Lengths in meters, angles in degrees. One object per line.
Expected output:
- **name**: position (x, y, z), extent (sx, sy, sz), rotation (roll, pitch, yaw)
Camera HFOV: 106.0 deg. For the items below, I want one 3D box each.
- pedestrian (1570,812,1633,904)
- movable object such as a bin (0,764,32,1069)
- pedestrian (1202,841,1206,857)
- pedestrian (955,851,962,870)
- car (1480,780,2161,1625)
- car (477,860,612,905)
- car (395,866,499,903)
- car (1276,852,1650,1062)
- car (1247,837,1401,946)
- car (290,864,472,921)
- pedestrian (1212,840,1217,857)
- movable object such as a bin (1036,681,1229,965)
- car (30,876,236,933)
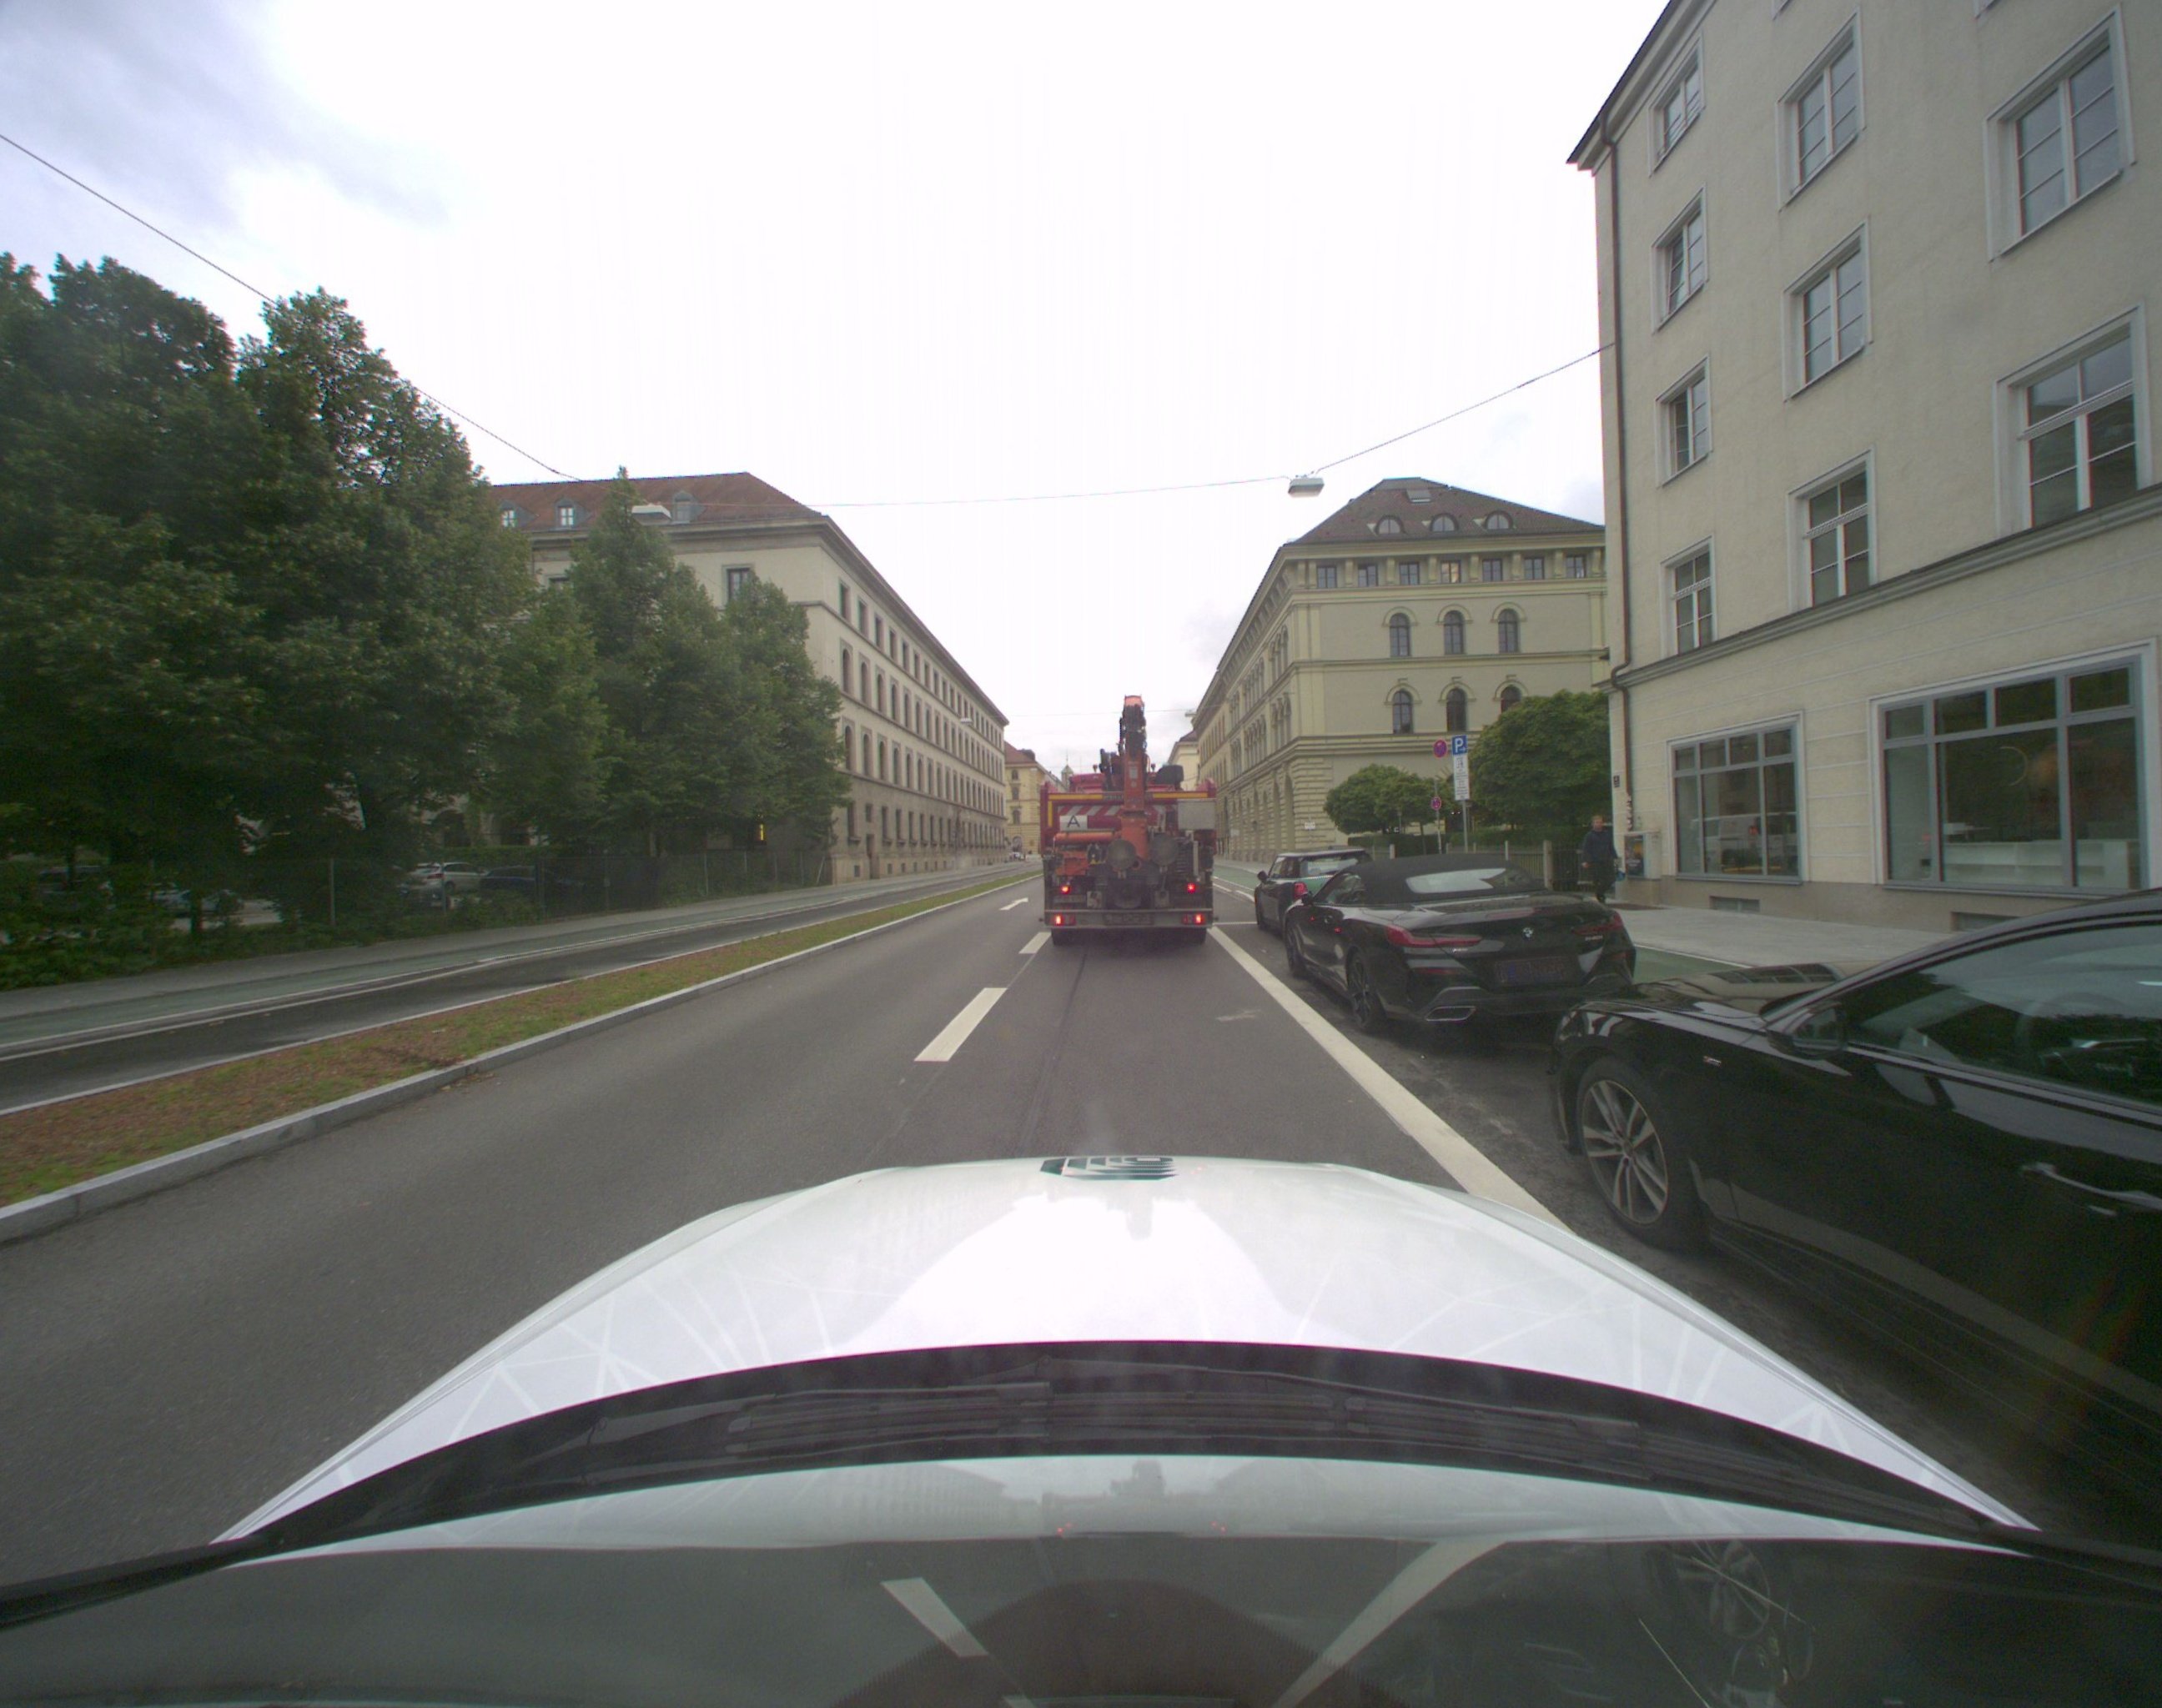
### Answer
- **pedestrian**: position (10.866, 0.076, 17.014), extent (0.787, 1.836, 0.778), rotation (-2, 0, 4)
- **movable object such as a bin**: position (-9.897, 0.570, 4.780), extent (1.996, 2.641, 4.645), rotation (-2, 0, -13)
- **pedestrian**: position (13.346, -0.542, 88.258), extent (0.336, 1.672, 0.440), rotation (-2, 0, 4)
- **pedestrian**: position (-11.751, 0.638, 78.155), extent (0.586, 1.831, 0.499), rotation (-1, 0, 1)
- **car**: position (2.812, 0.623, 1.688), extent (1.795, 1.480, 4.689), rotation (1, 0, 2)
- **car**: position (-20.561, 1.078, 31.307), extent (3.914, 1.545, 1.836), rotation (-1, 1, 0)
- **car**: position (-30.277, 1.423, 39.051), extent (1.823, 1.545, 3.942), rotation (-1, 1, 1)
- **car**: position (3.129, 0.698, 7.772), extent (1.673, 1.386, 4.430), rotation (-1, 0, 3)
- **car**: position (3.830, 0.525, 13.391), extent (1.603, 1.495, 3.427), rotation (-2, 0, 3)
- **car**: position (-21.166, 1.134, 24.743), extent (3.914, 1.545, 1.836), rotation (-1, 1, 0)
- **pedestrian**: position (14.454, -0.604, 88.133), extent (0.443, 1.836, 0.557), rotation (-2, 0, 4)
- **movable object such as a bin**: position (0.767, -0.422, 13.494), extent (2.414, 3.611, 5.854), rotation (-2, 0, 2)
- **car**: position (-31.081, 1.604, 26.939), extent (1.823, 1.545, 4.179), rotation (-1, 1, 1)
